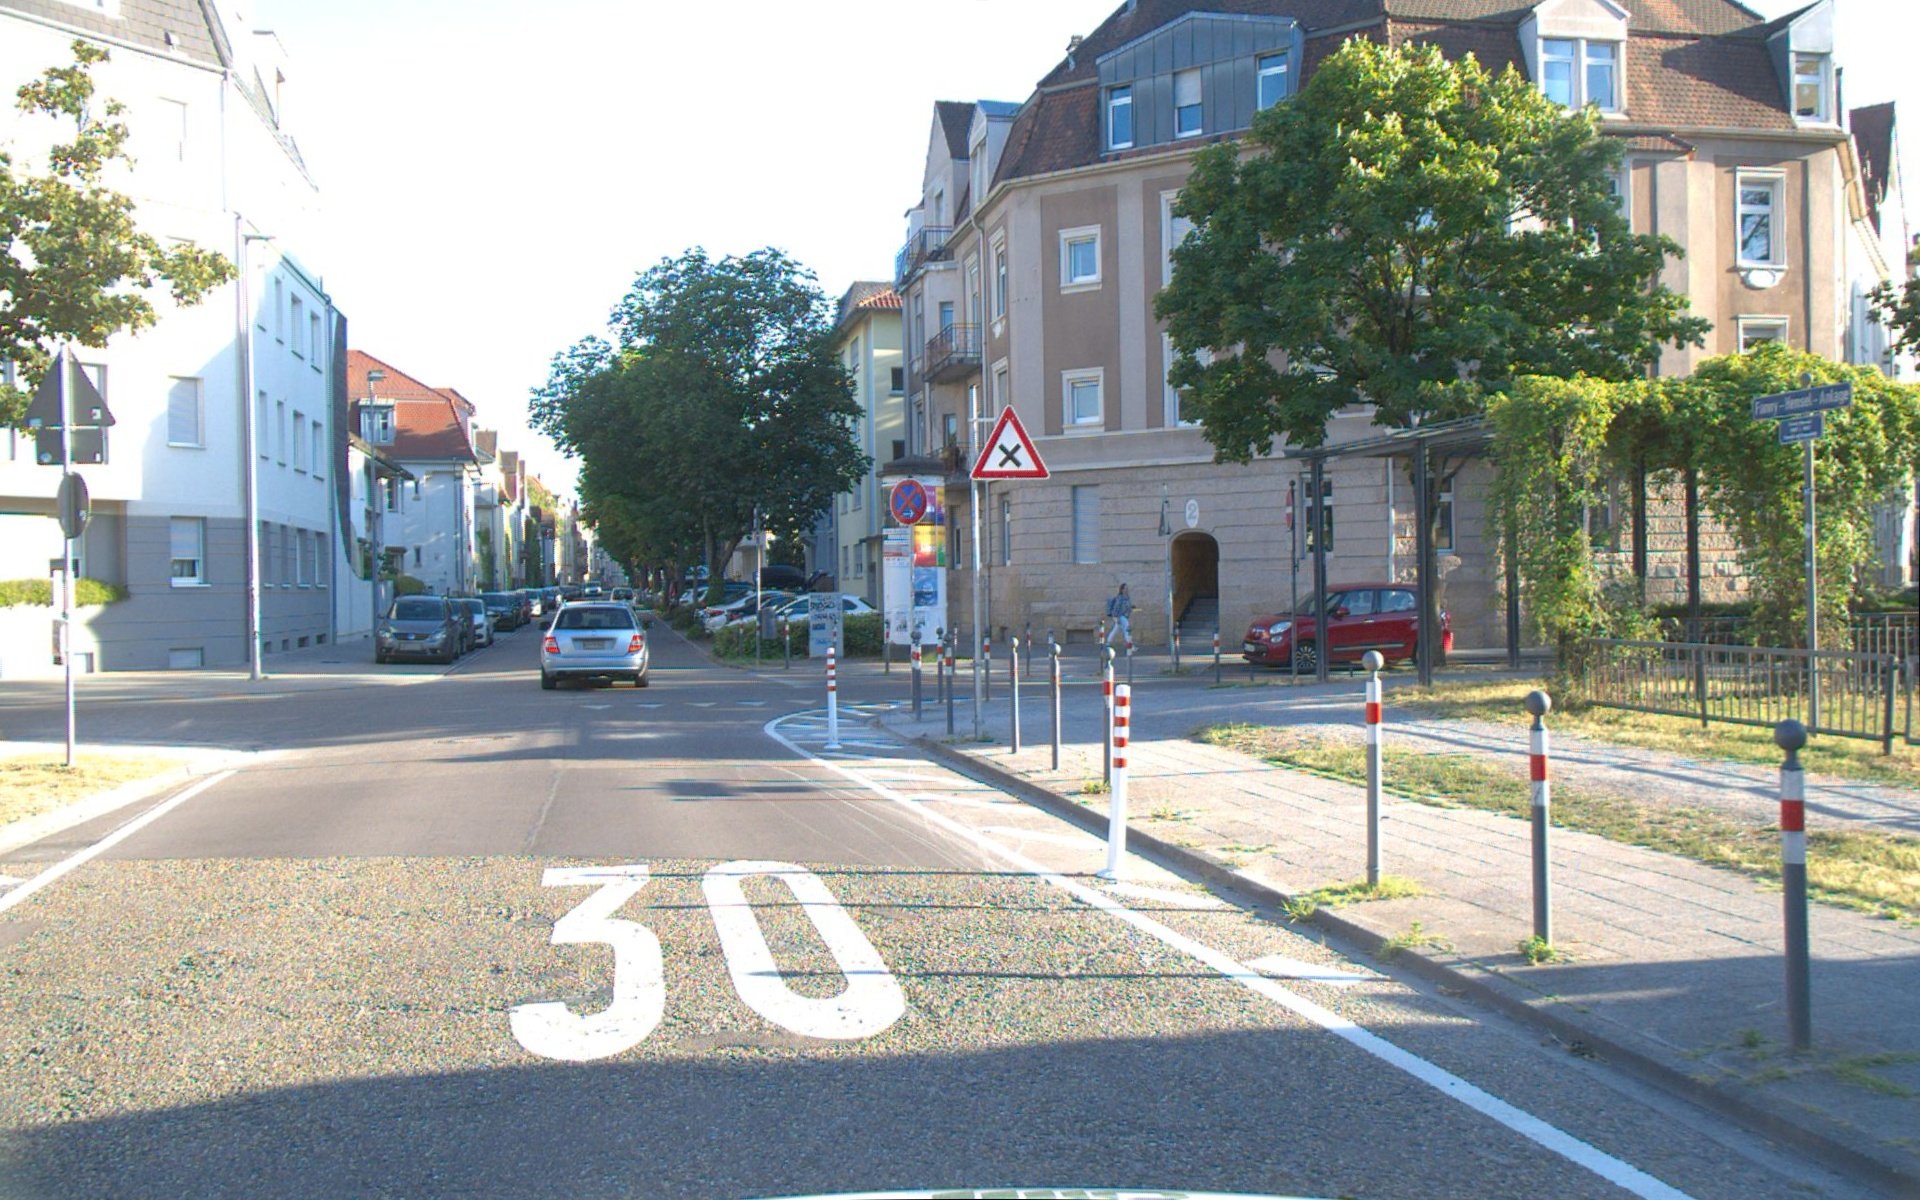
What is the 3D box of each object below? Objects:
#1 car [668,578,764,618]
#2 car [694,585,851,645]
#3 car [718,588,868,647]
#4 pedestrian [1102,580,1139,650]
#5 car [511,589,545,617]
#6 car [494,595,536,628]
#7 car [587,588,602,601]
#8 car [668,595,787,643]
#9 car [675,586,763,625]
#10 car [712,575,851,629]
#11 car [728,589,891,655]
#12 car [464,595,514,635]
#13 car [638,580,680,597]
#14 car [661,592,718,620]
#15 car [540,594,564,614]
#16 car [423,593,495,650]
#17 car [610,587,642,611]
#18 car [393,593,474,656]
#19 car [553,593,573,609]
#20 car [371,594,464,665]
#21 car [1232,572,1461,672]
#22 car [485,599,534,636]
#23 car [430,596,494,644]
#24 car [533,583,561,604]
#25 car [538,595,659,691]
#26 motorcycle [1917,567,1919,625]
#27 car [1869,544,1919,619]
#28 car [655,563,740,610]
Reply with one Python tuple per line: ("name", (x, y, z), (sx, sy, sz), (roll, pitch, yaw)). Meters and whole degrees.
("car", (-11.963, -0.107, 81.157), (4.545, 1.868, 1.948), (-1, 0, -13))
("car", (-5.693, 0.429, 50.106), (4.408, 1.552, 1.944), (-3, 2, -18))
("car", (-4.821, 0.490, 47.537), (4.072, 1.473, 1.667), (-2, 1, -14))
("pedestrian", (3.727, 0.339, 38.509), (0.801, 1.571, 0.743), (1, 3, 4))
("car", (-24.110, 0.183, 92.380), (1.630, 1.526, 3.743), (-1, 0, -12))
("car", (-20.978, 0.546, 78.060), (1.630, 1.514, 3.743), (-1, 0, -12))
("car", (-43.917, -0.667, 198.822), (1.501, 1.500, 4.261), (-1, -1, -9))
("car", (-8.494, 0.678, 60.346), (4.119, 1.585, 1.868), (-2, 0, -14))
("car", (-10.619, 0.230, 72.669), (3.667, 1.585, 1.719), (-2, 0, -14))
("car", (-6.020, 0.047, 55.646), (4.449, 1.669, 1.868), (-2, 0, -14))
("car", (-3.920, 0.548, 42.890), (3.979, 1.531, 1.855), (-2, 0, -14))
("car", (-18.858, 0.584, 66.345), (1.823, 1.524, 4.636), (-1, 0, -15))
("car", (-27.879, -1.074, 153.072), (3.776, 1.508, 1.800), (-1, 1, -12))
("car", (-17.761, 0.386, 108.520), (3.534, 1.688, 1.644), (-1, 1, -15))
("car", (-33.244, 0.319, 134.831), (1.768, 1.508, 3.845), (-1, 1, -12))
("car", (-15.118, 0.624, 50.060), (1.852, 1.618, 4.075), (-1, 0, -14))
("car", (-21.328, -0.039, 105.668), (1.784, 1.498, 4.207), (-1, 0, -9))
("car", (-14.501, 0.642, 45.741), (1.852, 1.618, 4.075), (-1, 0, -14))
("car", (-37.925, 0.101, 158.091), (1.768, 1.411, 3.595), (-1, 1, -12))
("car", (-13.202, 0.673, 40.434), (1.852, 1.618, 4.075), (-1, 0, -14))
("car", (7.555, 0.396, 32.455), (4.001, 1.771, 1.807), (-1, 2, -11))
("car", (-19.427, 0.748, 71.451), (1.752, 1.524, 4.686), (-1, 0, -12))
("car", (-16.261, 0.625, 54.155), (1.728, 1.473, 4.128), (-1, 0, -13))
("car", (-29.729, -0.478, 119.175), (1.768, 1.508, 3.845), (-1, 1, -12))
("car", (-6.164, 0.699, 28.562), (1.784, 1.498, 4.207), (-1, 0, -9))
("motorcycle", (26.091, -0.139, 42.021), (0.839, 1.513, 3.207), (0, -1, -23))
("car", (21.671, -0.431, 35.078), (4.001, 1.560, 1.807), (-1, 1, -11))
("car", (-17.722, -0.898, 111.681), (5.450, 3.020, 2.462), (-1, 1, -15))
